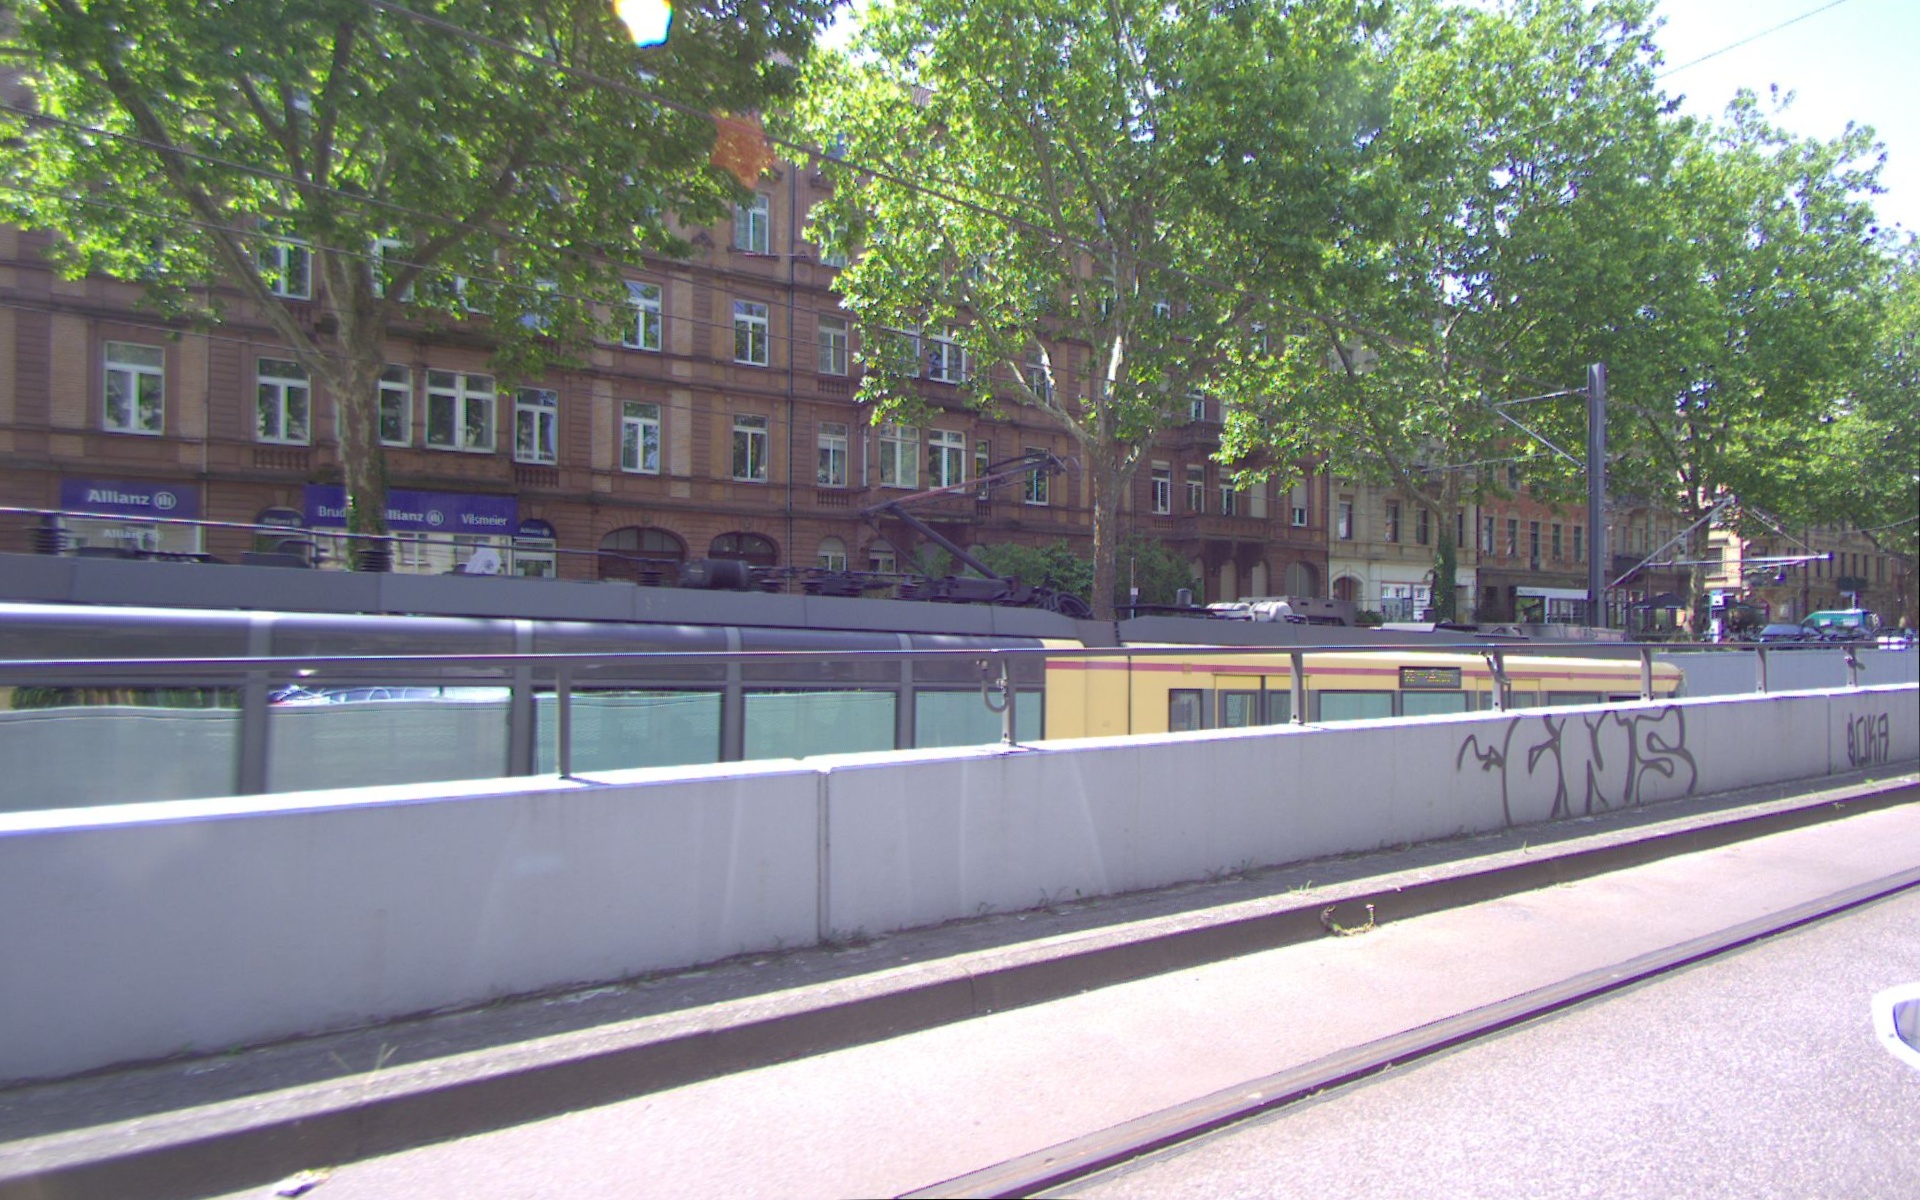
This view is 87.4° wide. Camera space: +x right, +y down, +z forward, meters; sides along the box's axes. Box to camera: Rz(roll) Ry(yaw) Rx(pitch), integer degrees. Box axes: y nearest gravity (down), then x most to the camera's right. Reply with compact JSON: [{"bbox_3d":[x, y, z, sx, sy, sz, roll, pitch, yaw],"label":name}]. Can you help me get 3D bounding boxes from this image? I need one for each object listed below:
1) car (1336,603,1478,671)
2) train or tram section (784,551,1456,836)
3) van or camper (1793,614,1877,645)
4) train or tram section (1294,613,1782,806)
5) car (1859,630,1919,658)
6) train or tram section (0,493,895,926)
[{"bbox_3d":[13.622,1.102,30.565,4.101,1.930,1.983,1,-1,-32],"label":"car"},{"bbox_3d":[2.296,0.914,12.325,8.393,2.542,2.715,1,-1,-31],"label":"train or tram section"},{"bbox_3d":[60.019,2.007,68.959,1.978,2.040,3.965,1,-1,-32],"label":"van or camper"},{"bbox_3d":[10.202,1.709,17.119,9.974,2.542,2.715,3,-2,-31],"label":"train or tram section"},{"bbox_3d":[60.087,2.831,64.878,3.954,1.706,1.983,1,-1,-31],"label":"car"},{"bbox_3d":[-4.658,0.681,8.058,7.911,2.542,2.715,1,-1,-31],"label":"train or tram section"}]
